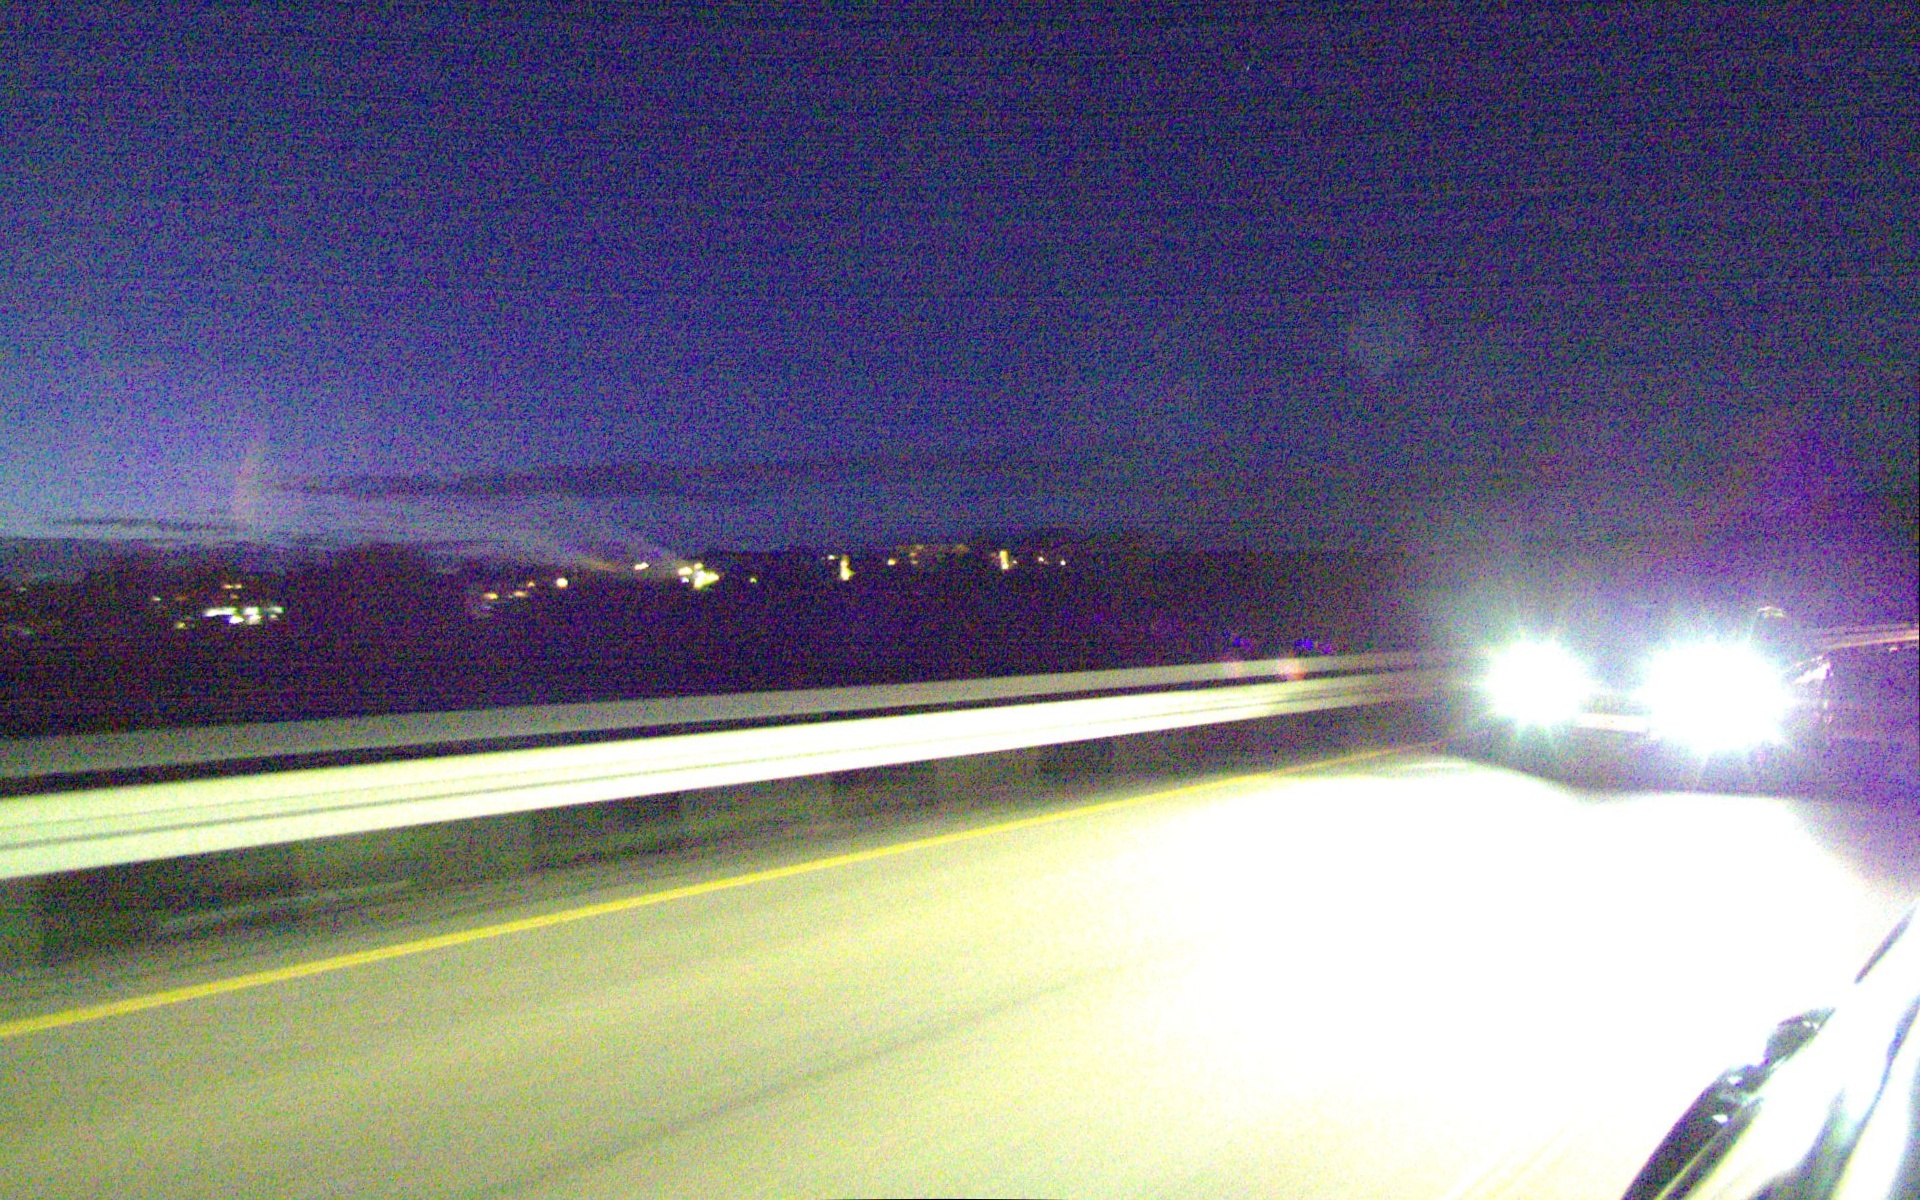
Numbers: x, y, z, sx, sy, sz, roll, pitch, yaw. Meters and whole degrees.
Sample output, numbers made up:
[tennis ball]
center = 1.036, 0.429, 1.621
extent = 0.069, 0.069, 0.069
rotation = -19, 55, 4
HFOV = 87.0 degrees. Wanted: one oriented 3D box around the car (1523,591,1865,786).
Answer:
[car]
center = 7.451, 0.657, 10.053
extent = 4.791, 1.444, 1.810
rotation = -1, 1, -42
